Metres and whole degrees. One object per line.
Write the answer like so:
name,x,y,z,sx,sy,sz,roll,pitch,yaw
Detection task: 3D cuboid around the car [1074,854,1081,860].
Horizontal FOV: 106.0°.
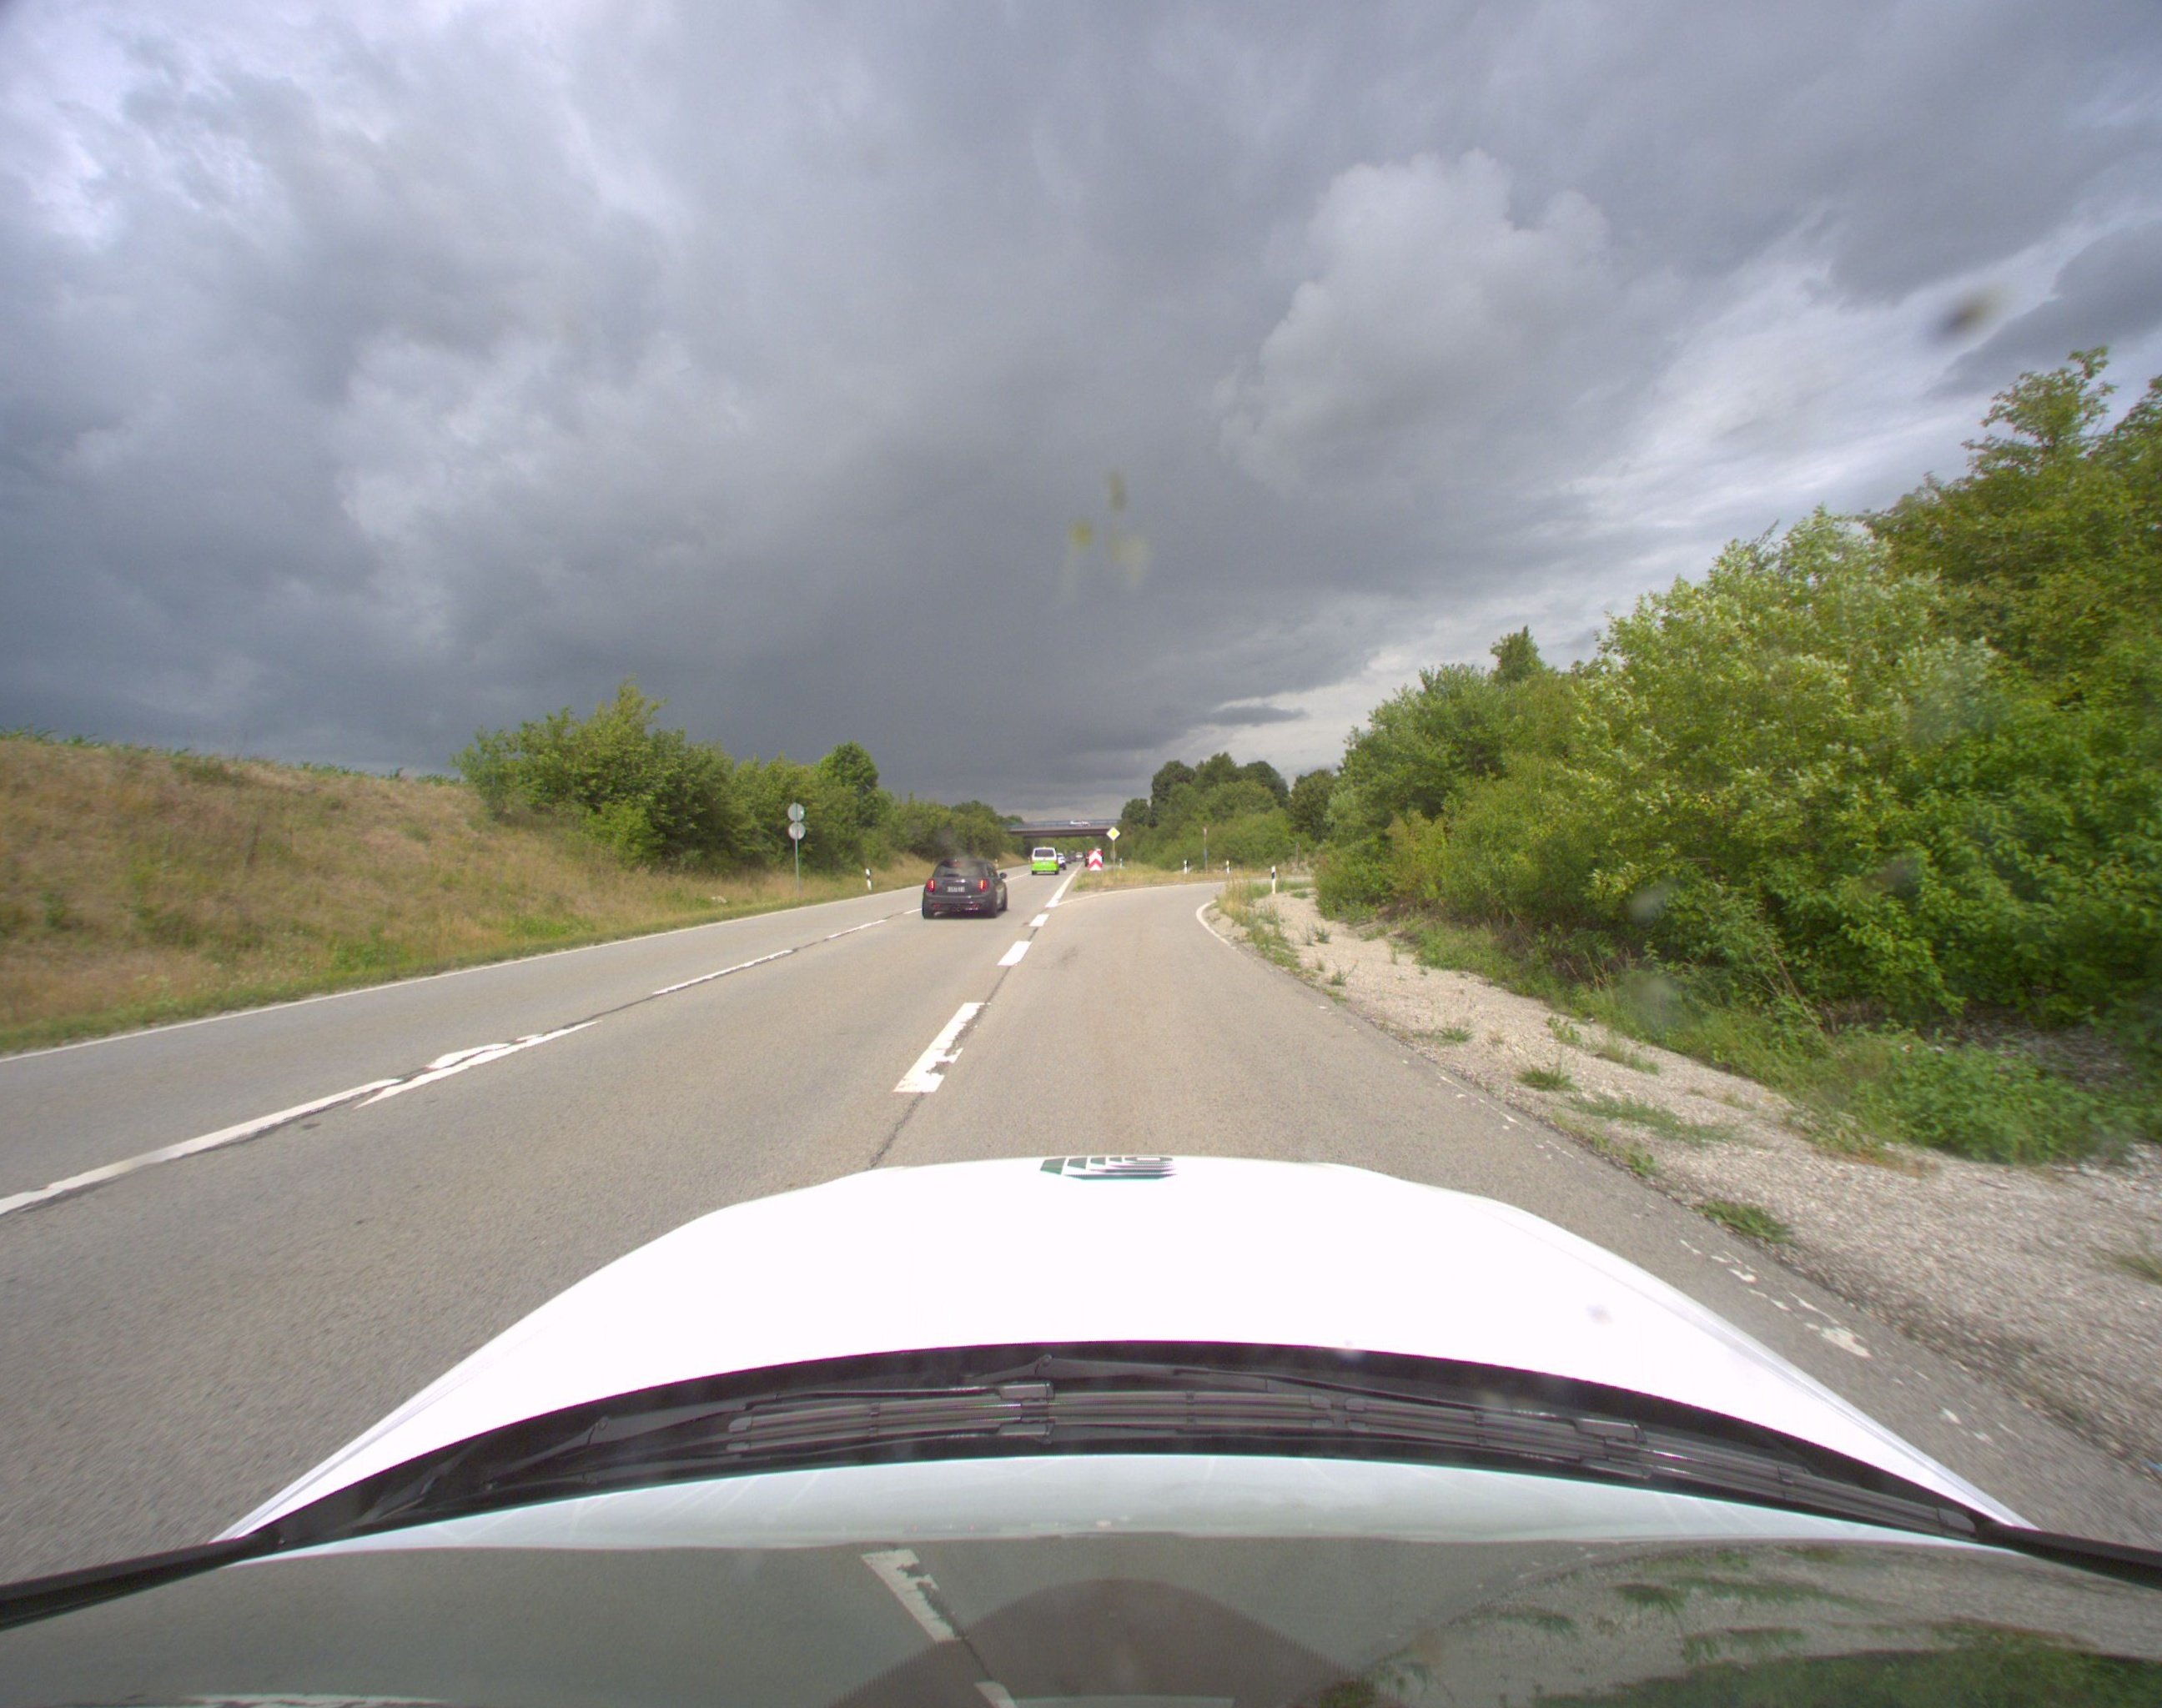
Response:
car,-0.779,0.693,200.804,1.661,1.403,4.000,0,0,1

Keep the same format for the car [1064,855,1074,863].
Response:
car,-2.146,0.843,146.517,1.661,1.403,4.000,0,0,1

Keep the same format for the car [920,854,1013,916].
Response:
car,-2.797,0.709,20.699,1.751,1.427,4.000,0,0,0

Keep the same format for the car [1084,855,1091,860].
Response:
car,1.696,1.050,224.247,1.660,1.403,4.003,0,0,3

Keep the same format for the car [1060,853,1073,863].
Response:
car,-2.015,0.618,117.235,1.661,1.403,4.002,0,0,2

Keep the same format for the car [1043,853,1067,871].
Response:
car,-2.370,0.703,74.860,1.987,1.552,4.000,0,0,0

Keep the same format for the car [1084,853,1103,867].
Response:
car,1.342,0.616,91.787,1.988,1.552,3.997,0,0,-2

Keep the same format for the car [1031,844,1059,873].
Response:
car,-2.571,0.314,59.057,1.813,2.054,4.000,0,0,0
